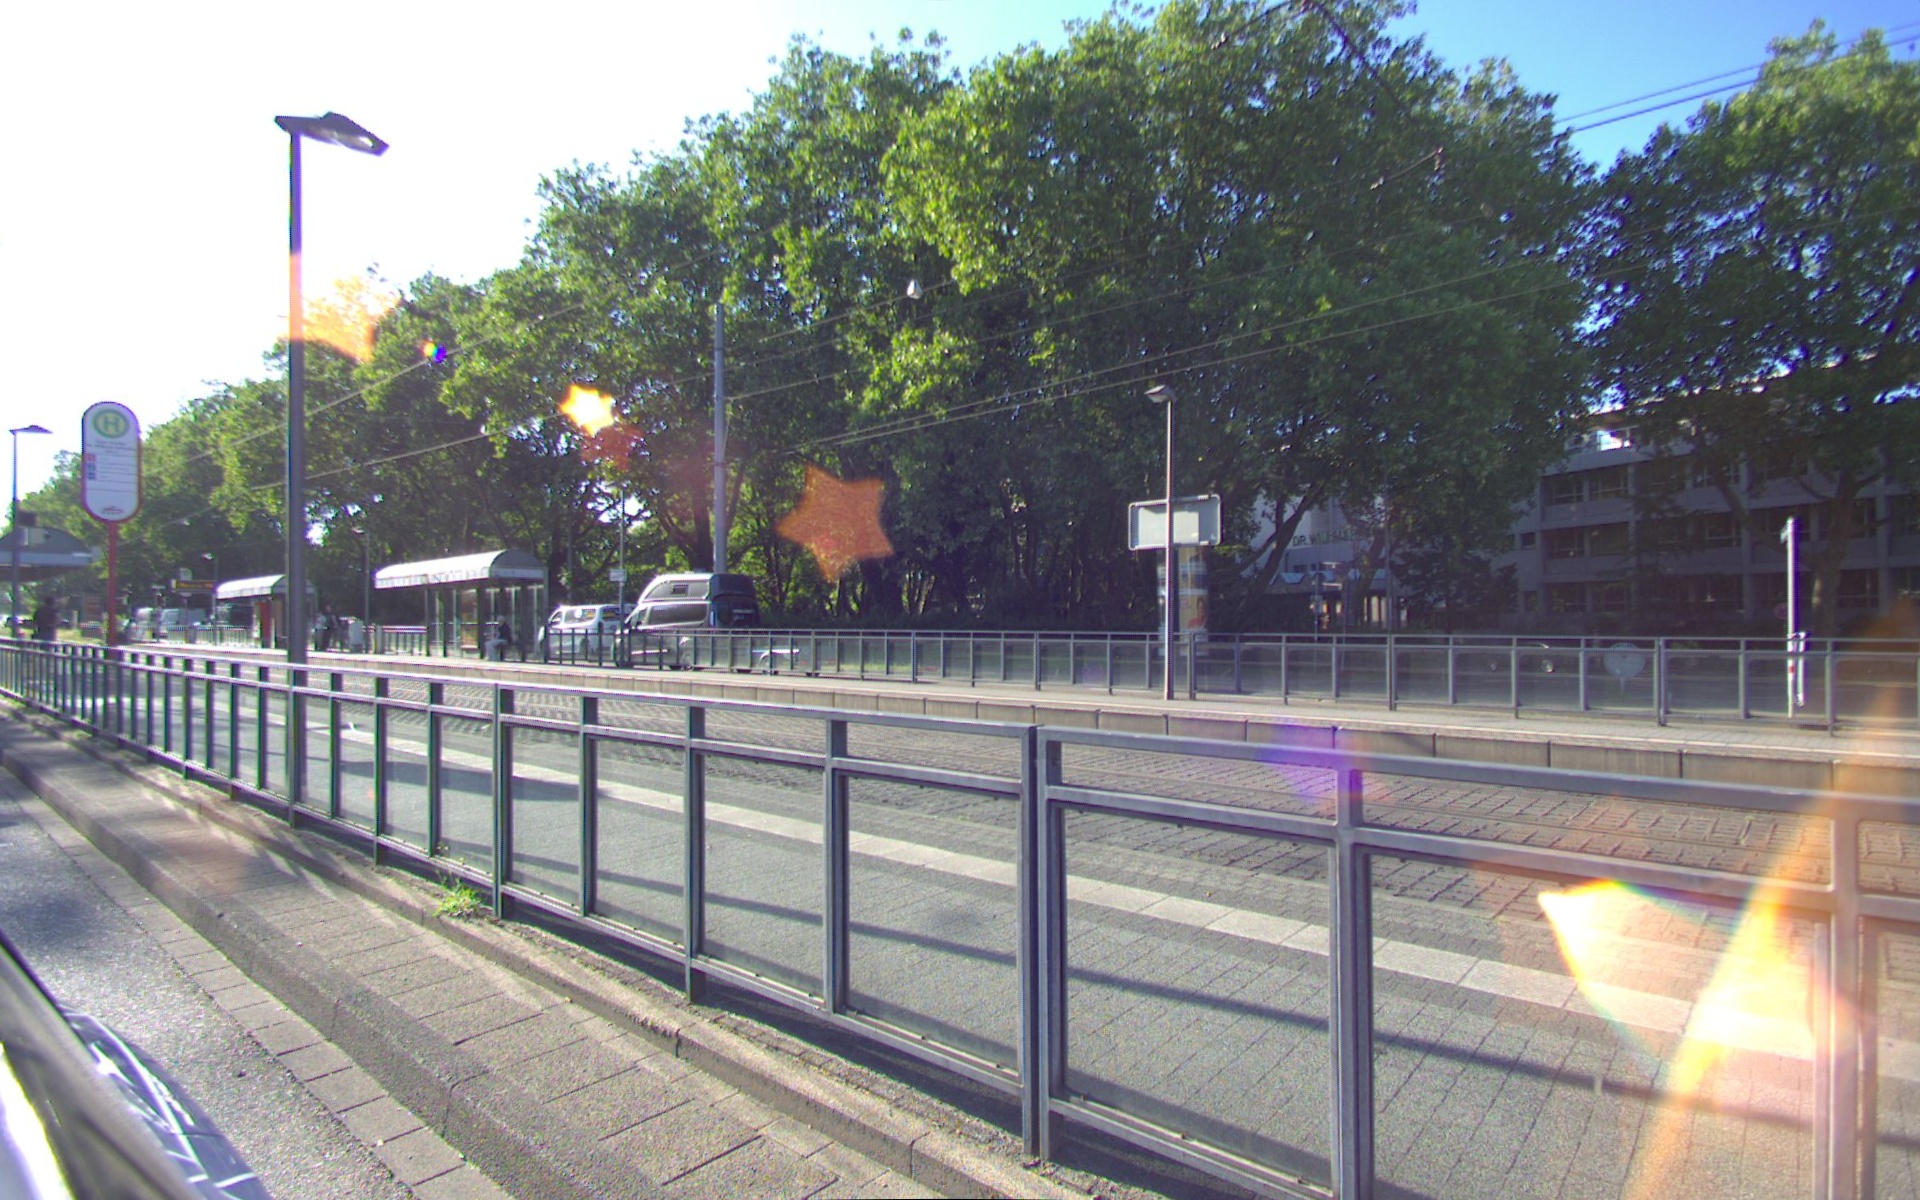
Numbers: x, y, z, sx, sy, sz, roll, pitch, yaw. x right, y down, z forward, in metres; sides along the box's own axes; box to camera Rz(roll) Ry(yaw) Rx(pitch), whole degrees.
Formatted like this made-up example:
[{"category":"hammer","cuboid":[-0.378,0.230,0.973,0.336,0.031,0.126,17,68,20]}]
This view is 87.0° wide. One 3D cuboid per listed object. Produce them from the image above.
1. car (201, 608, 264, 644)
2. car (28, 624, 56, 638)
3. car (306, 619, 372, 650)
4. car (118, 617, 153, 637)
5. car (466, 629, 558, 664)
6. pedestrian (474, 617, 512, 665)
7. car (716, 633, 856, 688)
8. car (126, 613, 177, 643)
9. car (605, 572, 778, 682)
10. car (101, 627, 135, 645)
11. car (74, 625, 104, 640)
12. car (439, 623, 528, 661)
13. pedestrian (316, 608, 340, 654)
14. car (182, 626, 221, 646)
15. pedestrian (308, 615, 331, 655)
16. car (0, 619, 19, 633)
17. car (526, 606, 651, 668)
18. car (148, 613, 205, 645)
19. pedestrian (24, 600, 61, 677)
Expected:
[{"category":"car","cuboid":[-52.505,1.856,72.996,6.027,2.540,2.161,-1,-3,40]},{"category":"car","cuboid":[-108.662,3.640,119.825,4.391,1.517,1.808,-1,-3,40]},{"category":"car","cuboid":[-34.497,1.915,56.194,3.968,1.664,1.884,0,-3,38]},{"category":"car","cuboid":[-75.062,2.467,92.146,3.879,1.741,1.721,-1,-3,40]},{"category":"car","cuboid":[-18.531,1.891,41.790,4.312,1.302,1.752,-1,-3,40]},{"category":"pedestrian","cuboid":[-13.395,1.182,29.029,0.756,1.335,0.663,-1,-4,40]},{"category":"car","cuboid":[-4.353,1.457,25.228,2.909,1.171,2.047,0,0,39]},{"category":"car","cuboid":[-70.085,2.424,87.712,6.045,2.540,2.161,-1,-3,40]},{"category":"car","cuboid":[-7.447,0.681,27.774,5.026,2.763,2.047,0,0,39]},{"category":"car","cuboid":[-79.684,3.401,95.749,3.879,1.567,1.721,-1,-3,40]},{"category":"car","cuboid":[-90.131,3.331,104.709,3.848,1.448,1.721,-1,-3,40]},{"category":"car","cuboid":[-20.535,1.800,43.512,4.338,1.522,1.776,-1,-3,40]},{"category":"pedestrian","cuboid":[-24.828,1.212,39.762,0.650,1.785,0.641,0,0,44]},{"category":"car","cuboid":[-59.019,2.796,78.739,3.262,1.524,1.636,0,-3,39]},{"category":"pedestrian","cuboid":[-25.458,1.374,40.226,0.626,1.555,0.586,0,0,42]},{"category":"car","cuboid":[-134.321,3.651,142.713,4.391,1.854,1.808,-1,-3,40]},{"category":"car","cuboid":[-13.807,1.332,37.459,5.086,2.140,2.046,-1,-3,40]},{"category":"car","cuboid":[-64.057,2.343,82.682,6.264,2.540,2.162,0,-3,38]},{"category":"pedestrian","cuboid":[-20.523,0.851,22.633,0.588,1.690,0.590,0,0,-44]}]
